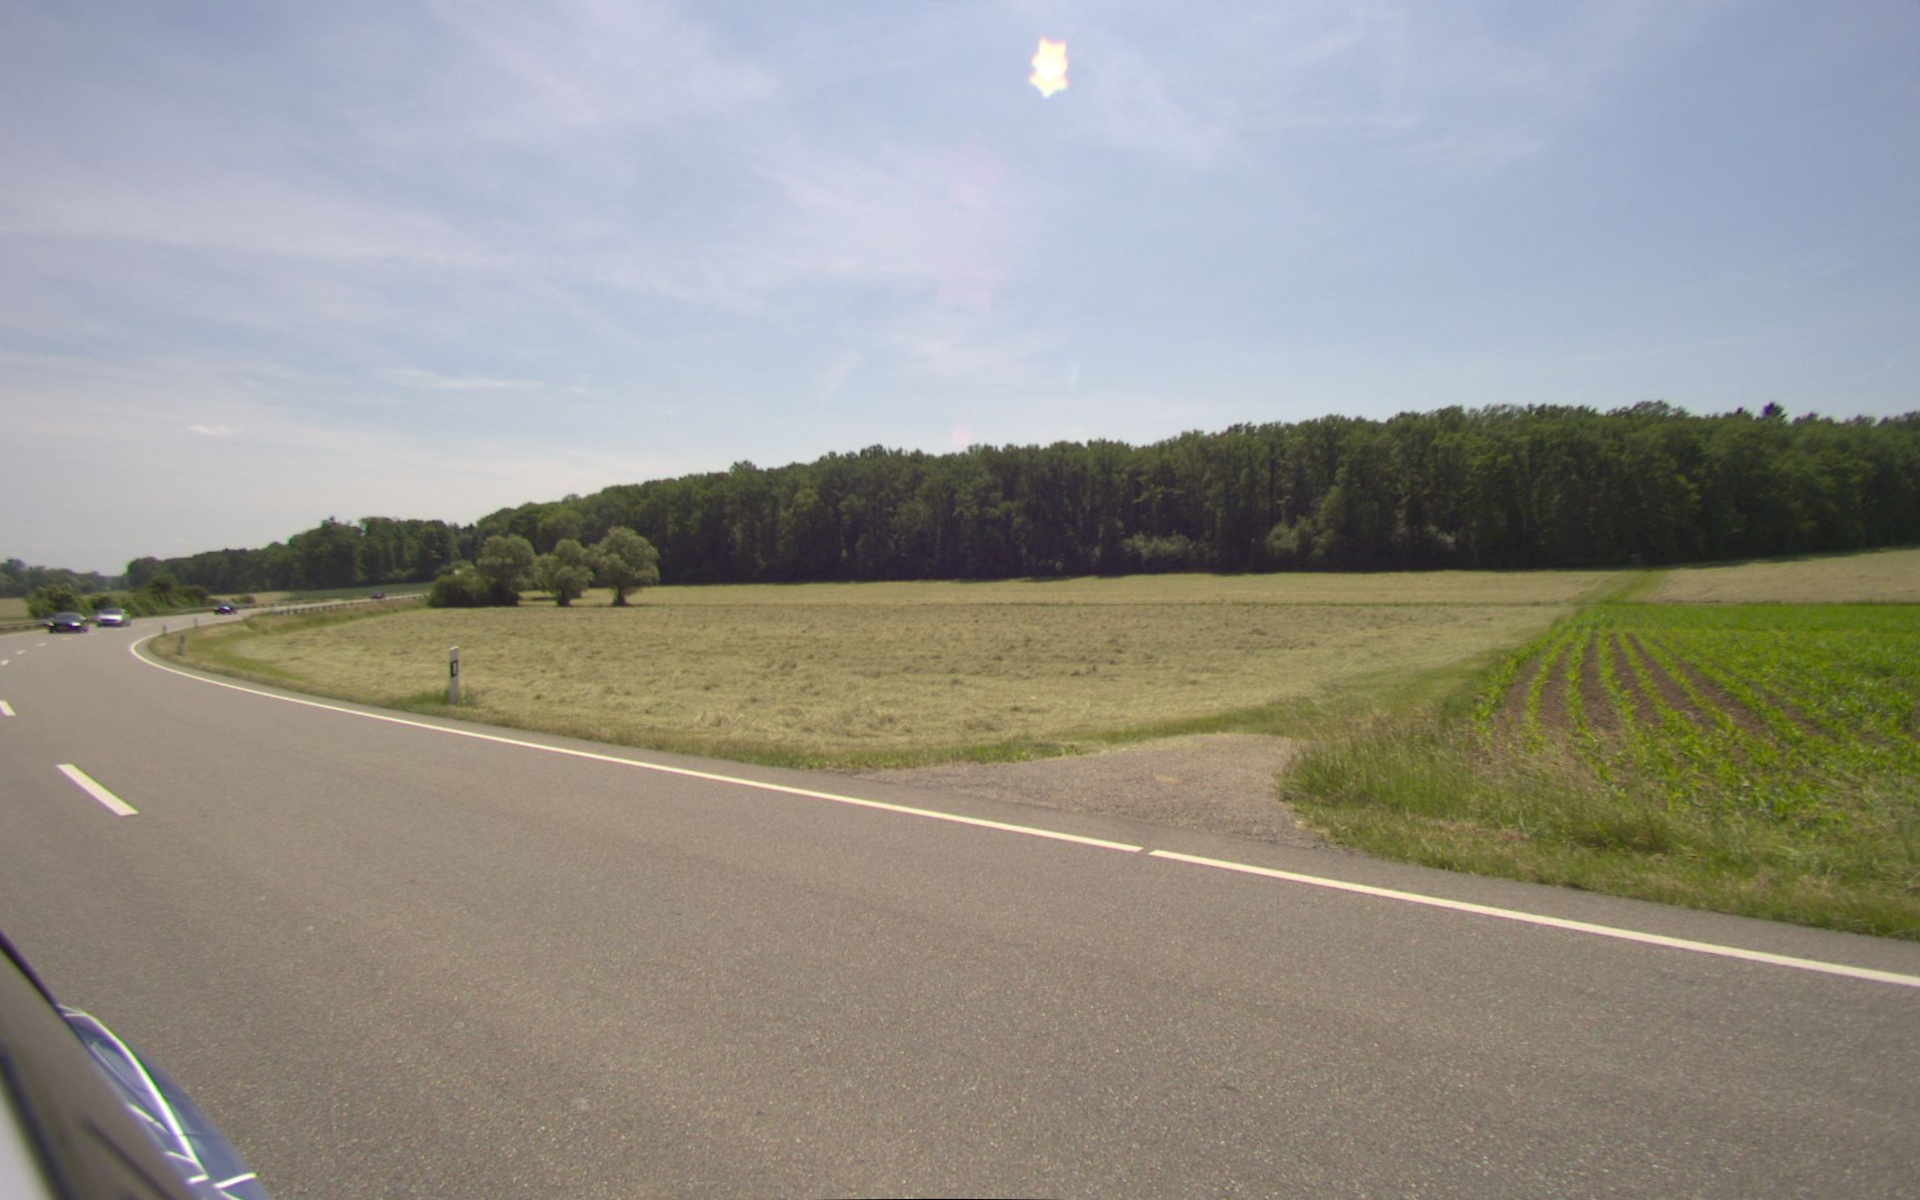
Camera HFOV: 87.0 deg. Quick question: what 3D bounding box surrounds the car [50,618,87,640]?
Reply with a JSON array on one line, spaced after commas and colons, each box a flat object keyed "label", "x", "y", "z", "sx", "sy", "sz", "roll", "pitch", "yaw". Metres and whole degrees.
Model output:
[{"label": "car", "x": -63.872, "y": 2.054, "z": 72.543, "sx": 1.596, "sy": 1.447, "sz": 3.452, "roll": -1, "pitch": 0, "yaw": -35}]

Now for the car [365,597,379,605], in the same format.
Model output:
[{"label": "car", "x": -119.932, "y": 0.188, "z": 206.350, "sx": 1.595, "sy": 1.447, "sz": 3.453, "roll": -1, "pitch": 1, "yaw": -14}]

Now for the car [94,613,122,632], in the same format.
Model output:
[{"label": "car", "x": -73.785, "y": 1.937, "z": 87.694, "sx": 1.596, "sy": 1.447, "sz": 3.452, "roll": -1, "pitch": 2, "yaw": -36}]

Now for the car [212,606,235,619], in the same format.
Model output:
[{"label": "car", "x": -94.259, "y": 1.578, "z": 129.515, "sx": 1.594, "sy": 1.447, "sz": 3.455, "roll": -1, "pitch": 1, "yaw": -23}]
